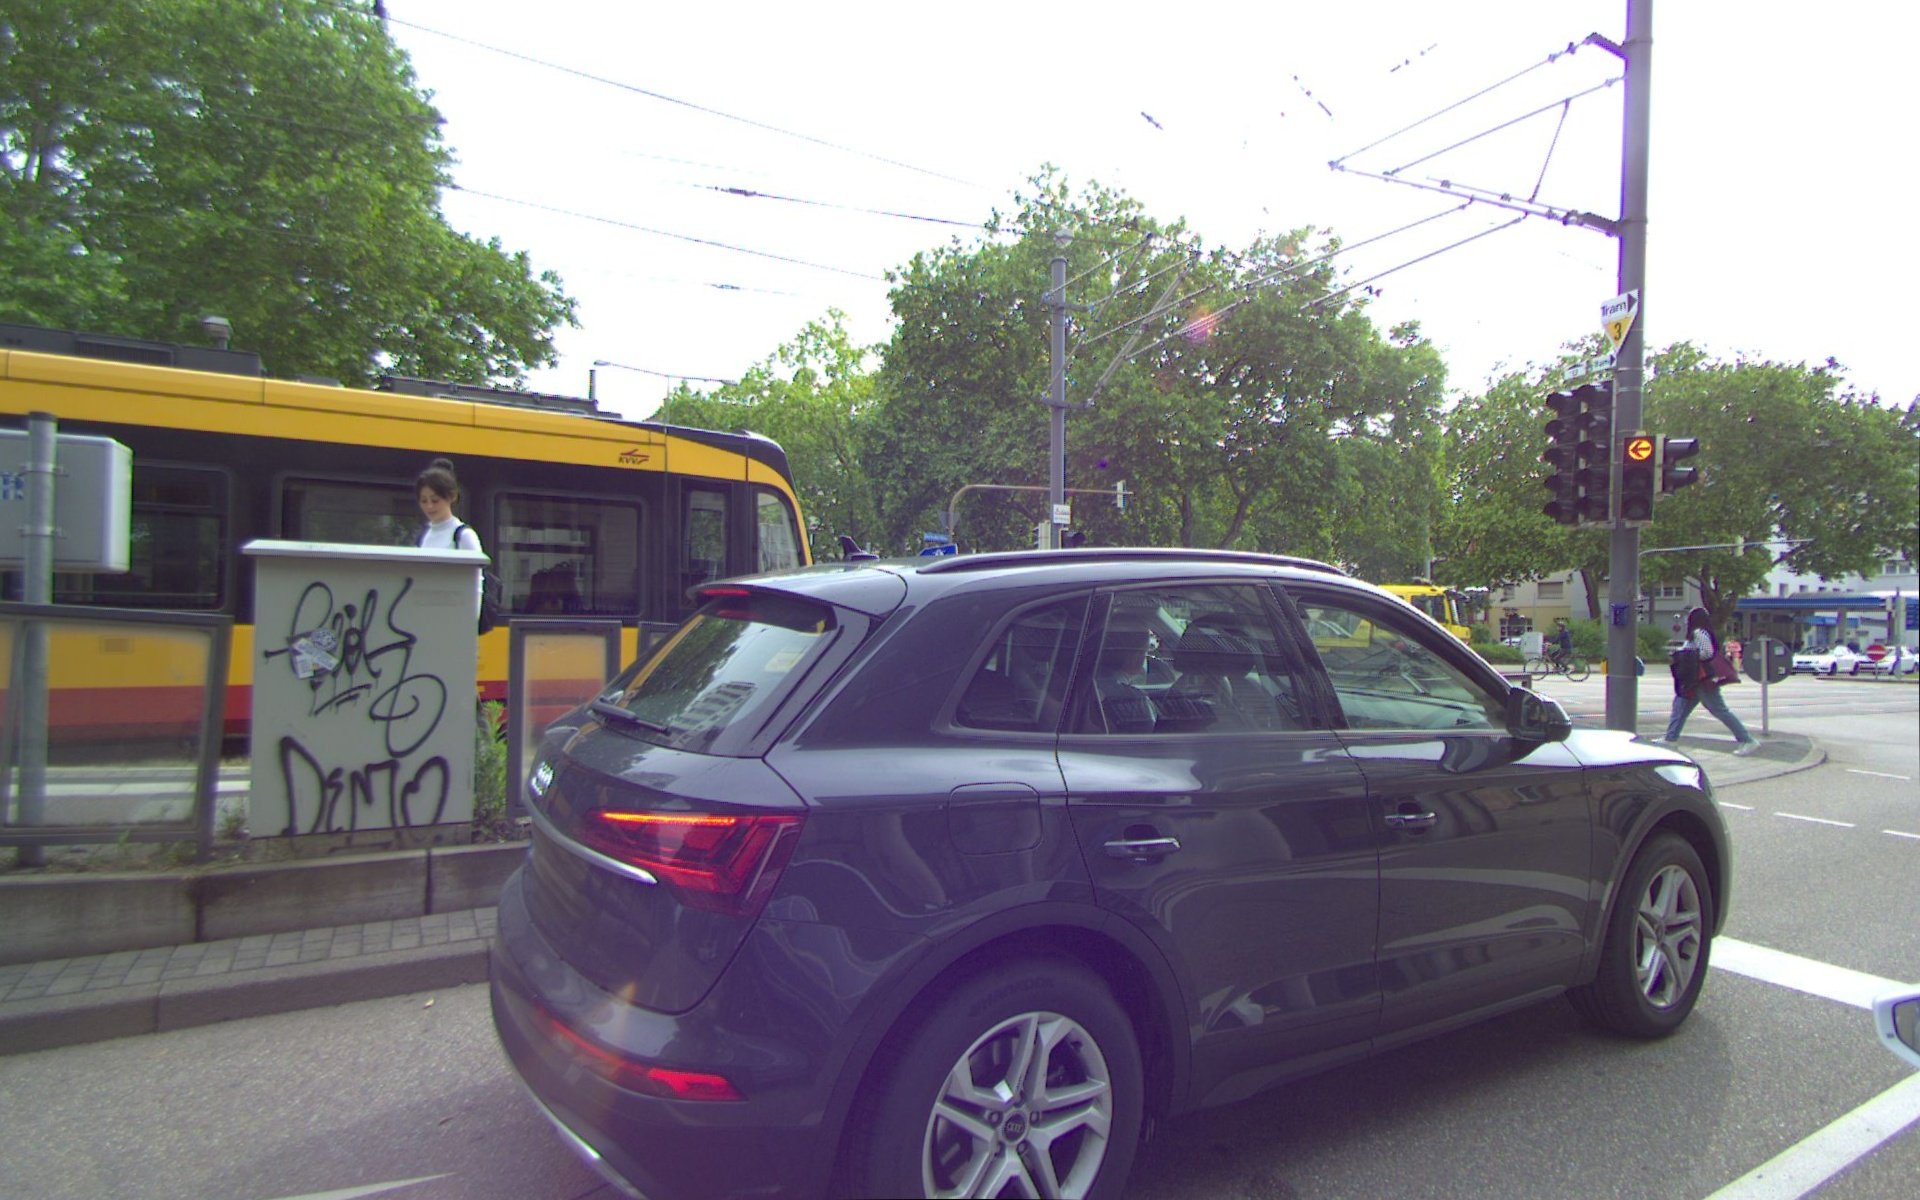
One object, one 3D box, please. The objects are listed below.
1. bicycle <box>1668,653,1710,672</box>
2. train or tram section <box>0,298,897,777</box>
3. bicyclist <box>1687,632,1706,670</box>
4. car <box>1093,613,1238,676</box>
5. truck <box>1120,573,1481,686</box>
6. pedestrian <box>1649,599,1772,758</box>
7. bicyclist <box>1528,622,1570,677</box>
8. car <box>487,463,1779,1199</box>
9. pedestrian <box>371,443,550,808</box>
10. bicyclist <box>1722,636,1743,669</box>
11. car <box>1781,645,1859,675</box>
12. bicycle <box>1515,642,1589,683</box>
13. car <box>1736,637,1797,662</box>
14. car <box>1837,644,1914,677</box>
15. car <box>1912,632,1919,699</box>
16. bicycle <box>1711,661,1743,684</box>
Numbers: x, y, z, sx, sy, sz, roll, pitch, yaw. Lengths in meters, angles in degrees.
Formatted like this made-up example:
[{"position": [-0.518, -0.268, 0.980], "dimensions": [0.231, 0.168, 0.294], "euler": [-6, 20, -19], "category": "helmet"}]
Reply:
[{"position": [35.691, 3.046, 49.191], "dimensions": [0.644, 0.783, 1.682], "euler": [2, 0, -9], "category": "bicycle"}, {"position": [-8.255, -0.496, 8.838], "dimensions": [15.665, 3.636, 3.045], "euler": [2, 0, -31], "category": "train or tram section"}, {"position": [35.955, 2.471, 49.067], "dimensions": [0.461, 1.808, 0.534], "euler": [2, 0, -10], "category": "bicyclist"}, {"position": [7.534, 1.585, 36.970], "dimensions": [4.798, 1.993, 1.983], "euler": [2, 0, 35], "category": "car"}, {"position": [10.017, 0.728, 30.482], "dimensions": [10.007, 2.980, 2.630], "euler": [1, 0, 34], "category": "truck"}, {"position": [8.411, 0.856, 11.294], "dimensions": [0.851, 1.702, 0.673], "euler": [2, 0, 9], "category": "pedestrian"}, {"position": [18.751, 1.565, 31.980], "dimensions": [1.026, 1.706, 0.641], "euler": [2, 0, 41], "category": "bicyclist"}, {"position": [0.813, 0.657, 3.536], "dimensions": [4.308, 1.622, 1.870], "euler": [2, -1, -31], "category": "car"}, {"position": [-2.564, 0.124, 5.145], "dimensions": [0.722, 1.683, 0.750], "euler": [2, 0, -30], "category": "pedestrian"}, {"position": [37.243, 2.532, 48.413], "dimensions": [0.611, 1.588, 0.585], "euler": [2, 0, -30], "category": "bicyclist"}, {"position": [41.366, 2.879, 48.301], "dimensions": [3.954, 1.343, 1.626], "euler": [2, 0, -31], "category": "car"}, {"position": [18.809, 1.970, 31.924], "dimensions": [1.914, 1.151, 0.732], "euler": [2, 0, 40], "category": "bicycle"}, {"position": [54.724, 3.362, 68.158], "dimensions": [3.954, 1.550, 1.984], "euler": [2, 0, -30], "category": "car"}, {"position": [46.852, 3.088, 51.405], "dimensions": [3.792, 1.578, 1.885], "euler": [2, 0, -30], "category": "car"}, {"position": [23.142, 1.478, 21.249], "dimensions": [3.915, 1.489, 1.841], "euler": [1, -1, 22], "category": "car"}, {"position": [36.836, 3.471, 48.226], "dimensions": [1.914, 1.031, 0.519], "euler": [2, 0, -30], "category": "bicycle"}]
